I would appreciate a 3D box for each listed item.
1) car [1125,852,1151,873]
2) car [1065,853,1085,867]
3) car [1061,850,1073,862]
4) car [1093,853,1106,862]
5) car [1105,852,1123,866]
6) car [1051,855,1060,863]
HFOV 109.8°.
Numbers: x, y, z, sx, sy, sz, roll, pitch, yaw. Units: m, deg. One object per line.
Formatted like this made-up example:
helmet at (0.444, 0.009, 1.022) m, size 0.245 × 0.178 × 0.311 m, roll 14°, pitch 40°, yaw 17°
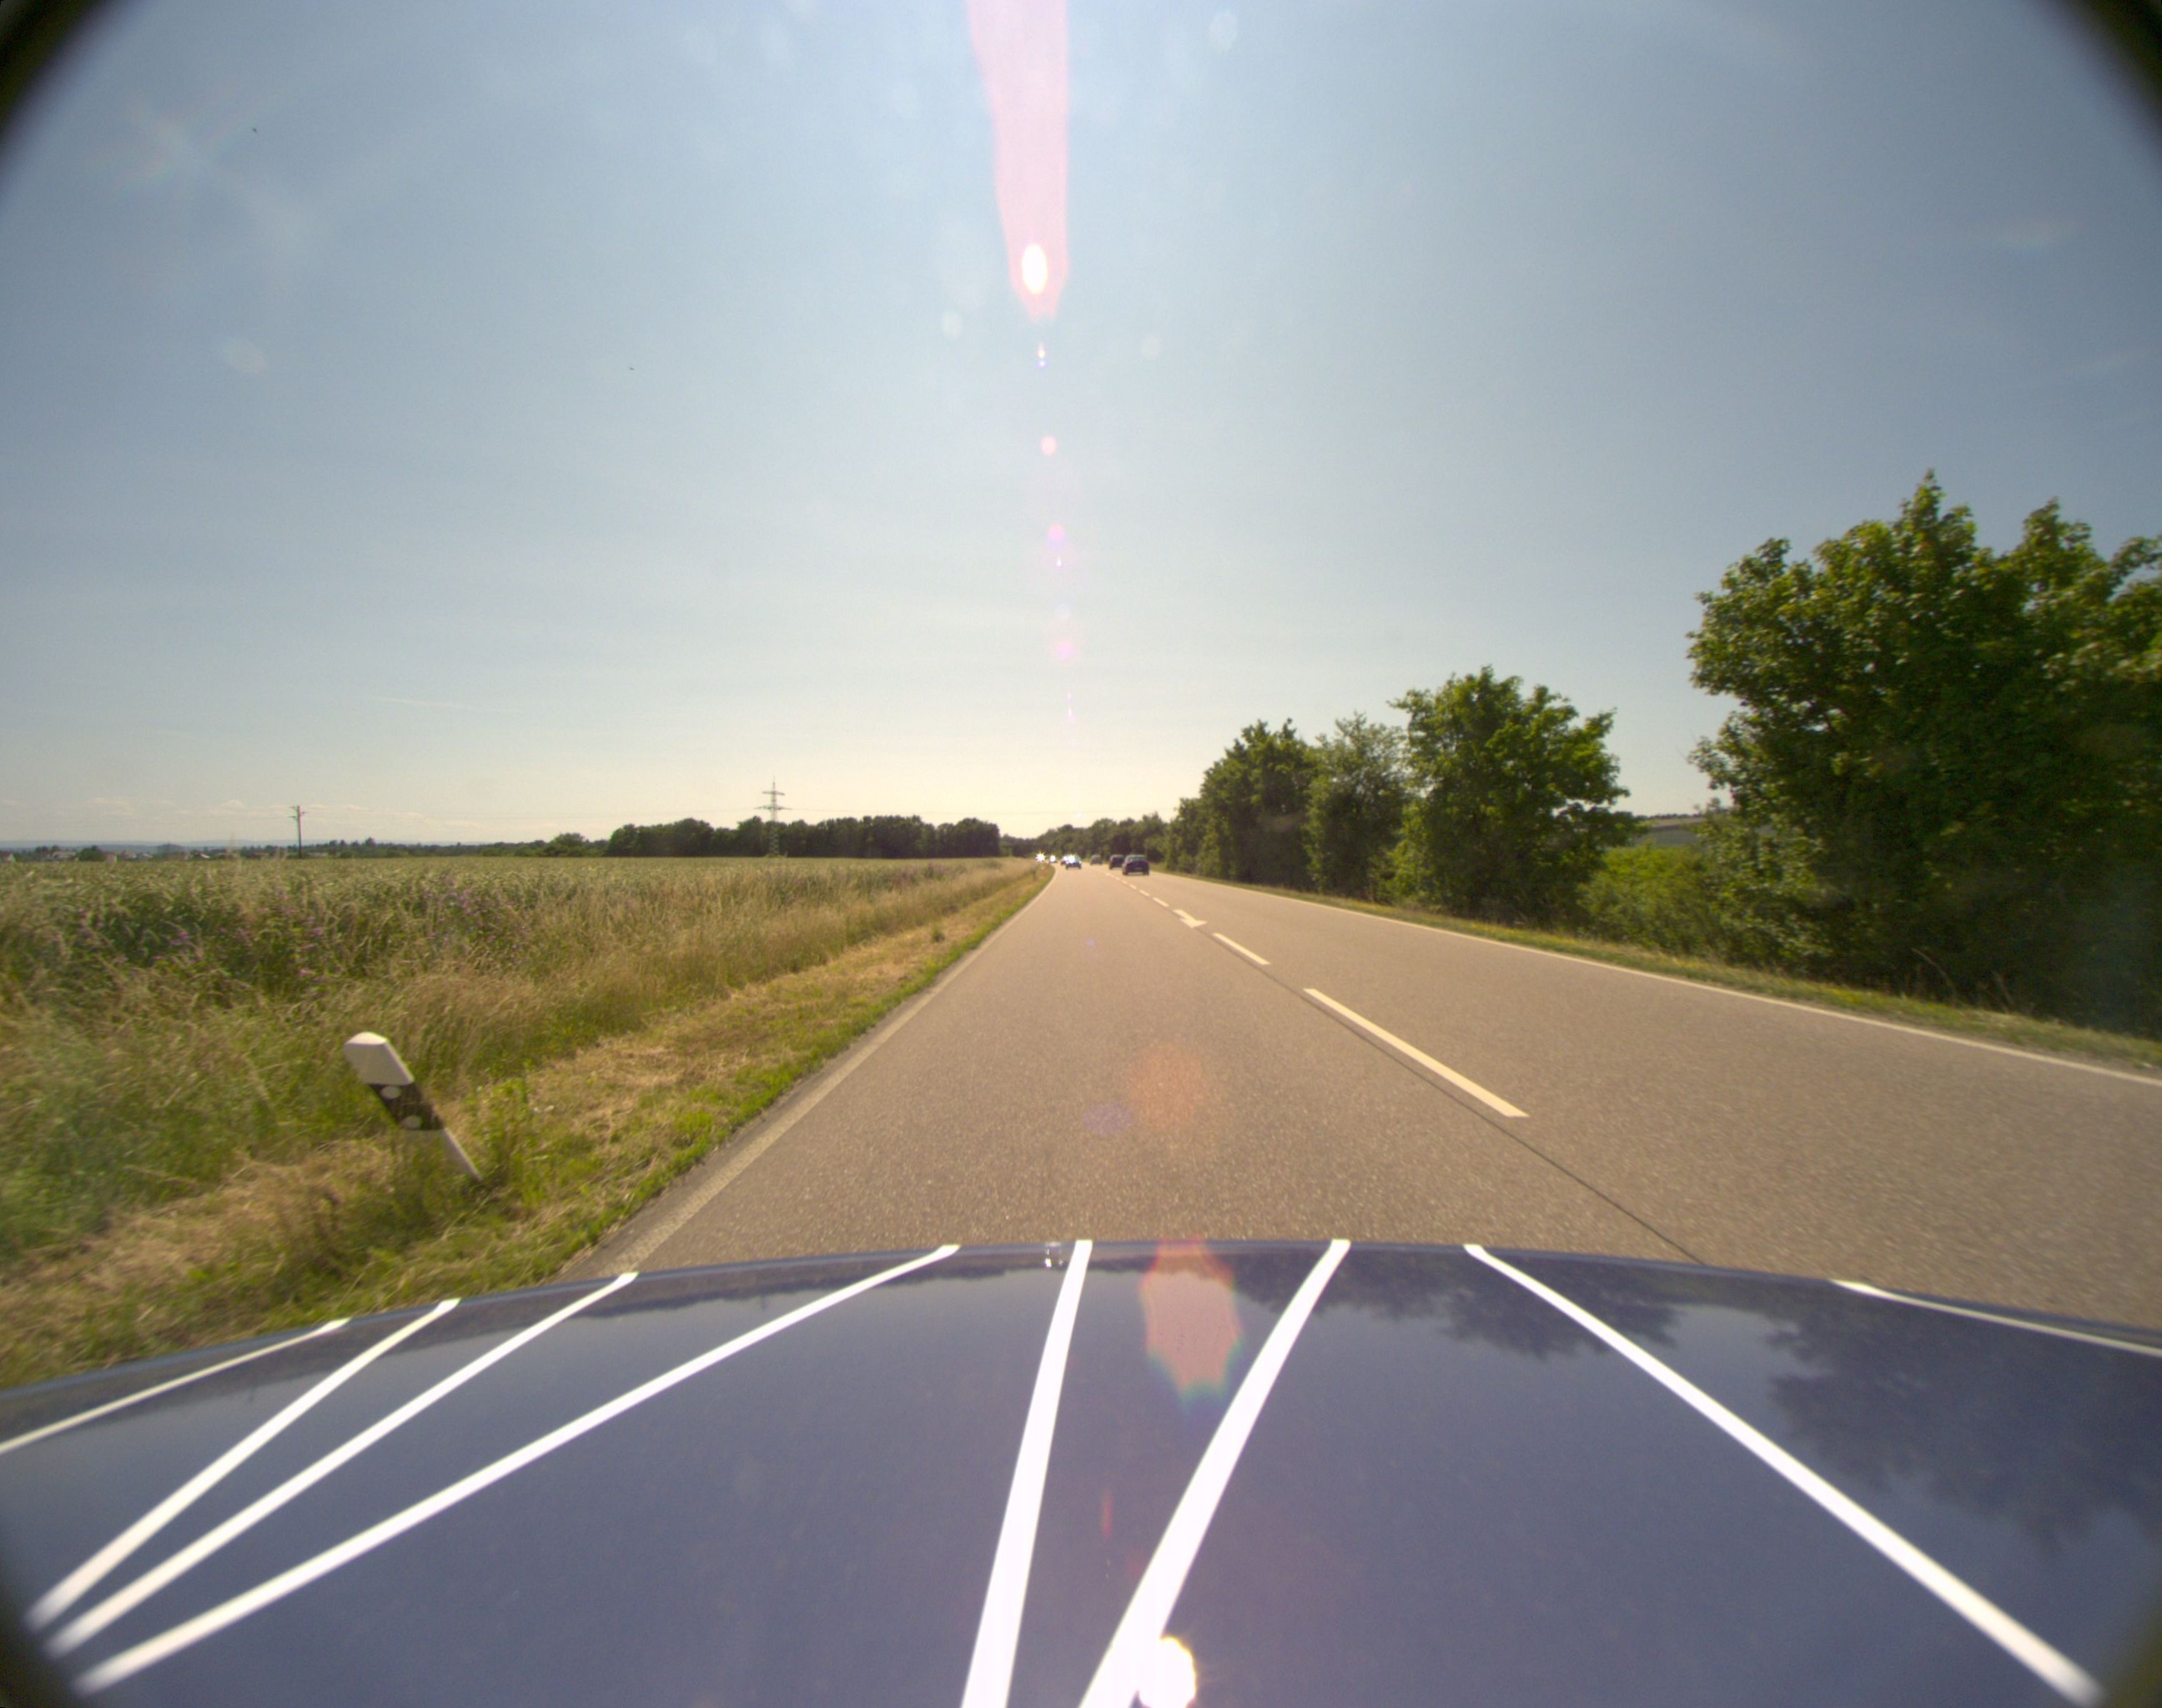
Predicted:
car at (4.130, 0.573, 55.609) m, size 1.657 × 1.398 × 4.000 m, roll -2°, pitch 0°, yaw 2°
car at (-0.724, 0.662, 87.509) m, size 1.694 × 1.431 × 3.707 m, roll -2°, pitch 1°, yaw -10°
car at (-2.284, 0.310, 124.234) m, size 1.999 × 2.002 × 3.999 m, roll -1°, pitch 1°, yaw -1°
car at (2.840, 0.502, 117.153) m, size 1.712 × 1.373 × 3.818 m, roll -2°, pitch 0°, yaw -1°
car at (3.411, 0.527, 78.751) m, size 1.601 × 1.433 × 4.000 m, roll -2°, pitch 0°, yaw -1°
car at (-5.674, 1.107, 165.688) m, size 1.554 × 1.659 × 3.997 m, roll -2°, pitch 1°, yaw -7°
